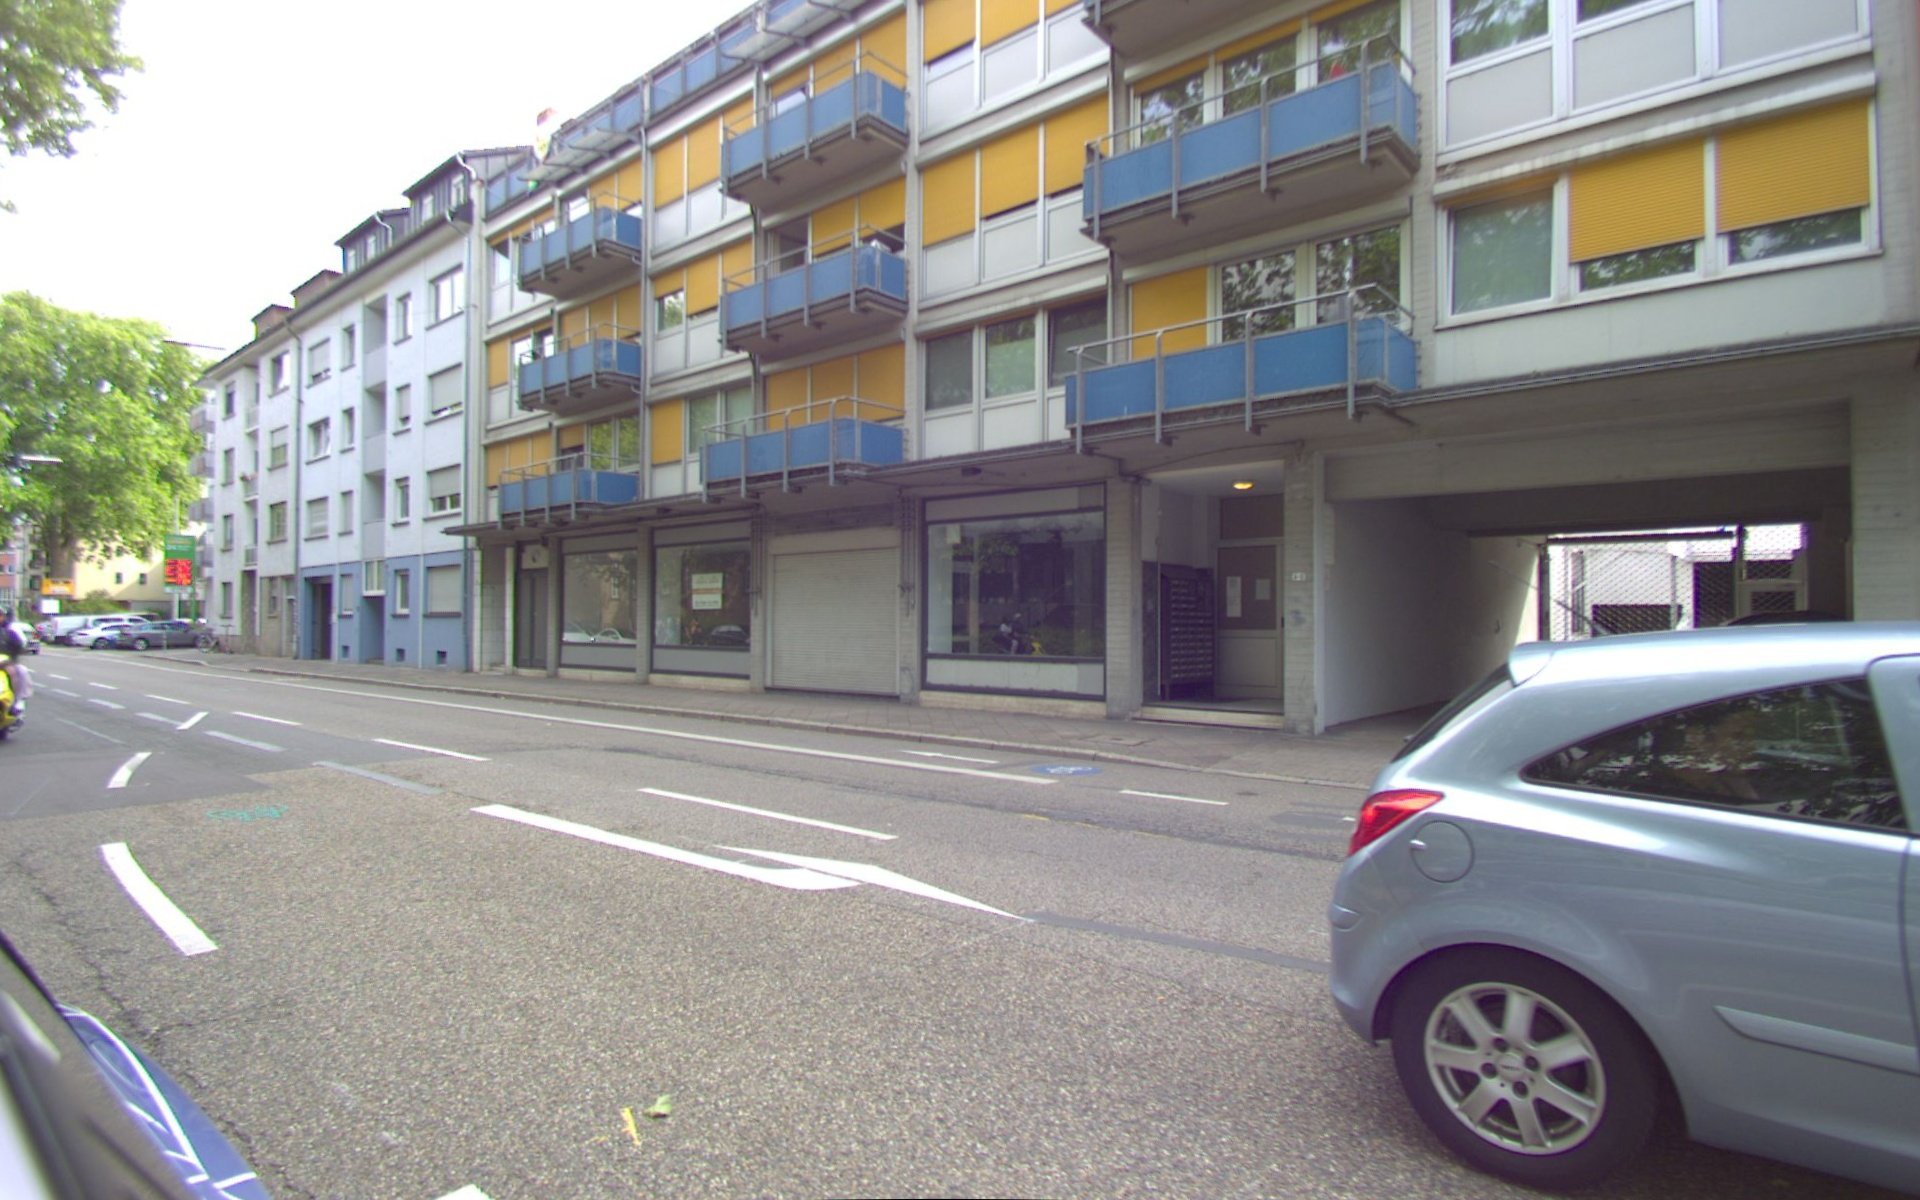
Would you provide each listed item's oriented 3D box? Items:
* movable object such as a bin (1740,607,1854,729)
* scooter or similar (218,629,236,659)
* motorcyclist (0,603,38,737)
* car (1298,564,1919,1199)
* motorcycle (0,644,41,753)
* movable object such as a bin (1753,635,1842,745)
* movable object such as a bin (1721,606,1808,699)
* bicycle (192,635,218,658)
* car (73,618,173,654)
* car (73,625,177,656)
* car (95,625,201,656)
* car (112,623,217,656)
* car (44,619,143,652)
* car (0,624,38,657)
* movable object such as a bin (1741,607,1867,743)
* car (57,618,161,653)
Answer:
[{"bbox_3d":[10.725,0.836,12.967,1.052,1.475,1.177,-2,-2,42],"label":"movable object such as a bin"},{"bbox_3d":[-30.870,1.841,42.601,1.201,1.231,0.346,-2,-1,41],"label":"scooter or similar"},{"bbox_3d":[-12.033,0.856,12.505,0.692,1.630,0.892,-2,-2,45],"label":"motorcyclist"},{"bbox_3d":[3.115,0.666,2.142,4.250,1.431,1.695,-1,-4,40],"label":"car"},{"bbox_3d":[-12.032,1.173,12.489,0.892,1.206,2.632,1,-2,-45],"label":"motorcycle"},{"bbox_3d":[9.154,0.956,11.067,0.709,1.134,0.635,-2,-2,42],"label":"movable object such as a bin"},{"bbox_3d":[13.471,0.861,16.948,1.052,1.475,1.177,-2,-2,42],"label":"movable object such as a bin"},{"bbox_3d":[-33.015,2.008,44.251,1.662,0.957,0.591,-2,-1,41],"label":"bicycle"},{"bbox_3d":[-48.365,2.068,58.527,1.923,1.862,4.167,-2,0,41],"label":"car"},{"bbox_3d":[-46.518,2.224,56.413,1.873,1.462,4.226,-2,0,41],"label":"car"},{"bbox_3d":[-44.428,2.172,55.454,1.910,1.462,4.255,-2,0,41],"label":"car"},{"bbox_3d":[-42.484,2.094,54.110,1.836,1.525,4.107,-2,0,41],"label":"car"},{"bbox_3d":[-55.276,2.254,64.649,1.949,1.873,4.567,-2,0,42],"label":"car"},{"bbox_3d":[-43.098,1.822,45.583,4.096,1.438,1.739,-1,-3,40],"label":"car"},{"bbox_3d":[9.810,0.829,11.769,1.052,1.475,1.177,-2,-2,42],"label":"movable object such as a bin"},{"bbox_3d":[-53.176,2.174,63.311,1.993,1.949,4.716,-2,0,42],"label":"car"}]
